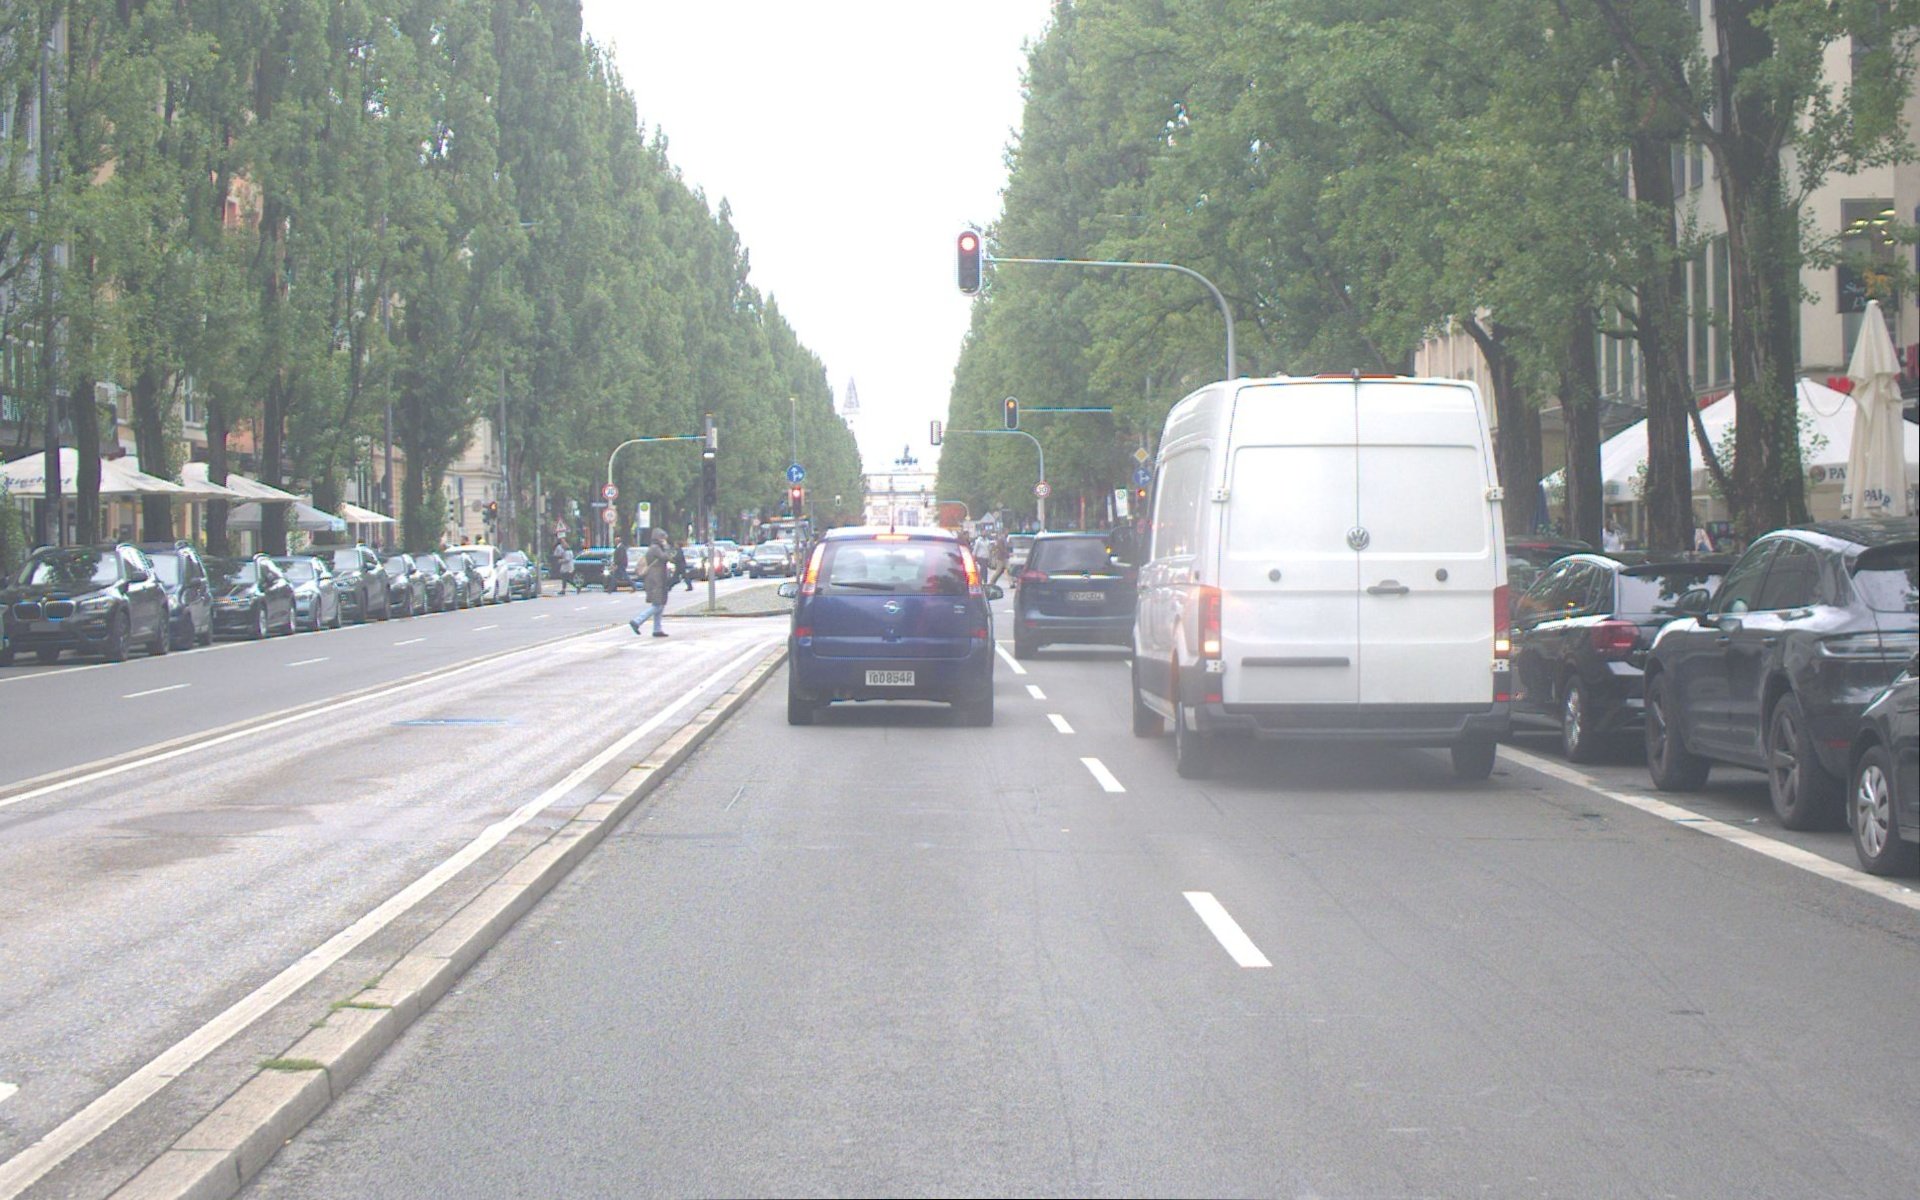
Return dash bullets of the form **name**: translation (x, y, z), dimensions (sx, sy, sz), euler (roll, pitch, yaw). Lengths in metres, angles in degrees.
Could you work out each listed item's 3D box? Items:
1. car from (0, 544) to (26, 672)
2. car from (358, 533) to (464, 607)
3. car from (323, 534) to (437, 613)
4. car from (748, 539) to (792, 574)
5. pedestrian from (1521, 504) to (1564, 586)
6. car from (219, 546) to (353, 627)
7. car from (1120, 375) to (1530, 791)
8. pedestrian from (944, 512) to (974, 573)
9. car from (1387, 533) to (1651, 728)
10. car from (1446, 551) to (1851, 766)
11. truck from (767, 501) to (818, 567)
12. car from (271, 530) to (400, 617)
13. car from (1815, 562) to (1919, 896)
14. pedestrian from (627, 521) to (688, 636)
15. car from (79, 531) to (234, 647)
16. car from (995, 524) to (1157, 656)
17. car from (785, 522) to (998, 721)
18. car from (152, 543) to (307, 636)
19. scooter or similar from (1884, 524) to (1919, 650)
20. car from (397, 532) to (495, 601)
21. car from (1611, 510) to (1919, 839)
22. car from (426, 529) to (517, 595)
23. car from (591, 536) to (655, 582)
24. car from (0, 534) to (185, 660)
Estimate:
- **car**: translation (-12.581, 0.154, 40.680), dimensions (1.866, 1.546, 4.415), euler (-2, 1, -1)
- **car**: translation (-13.094, -0.734, 82.178), dimensions (1.866, 1.660, 4.120), euler (-2, 1, -1)
- **car**: translation (-13.004, -0.624, 77.228), dimensions (1.866, 1.660, 4.120), euler (-2, 1, -1)
- **car**: translation (-8.146, -1.858, 147.286), dimensions (1.735, 1.460, 3.365), euler (-1, 1, -1)
- **pedestrian**: translation (12.126, -1.135, 71.554), dimensions (0.673, 1.680, 0.759), euler (-1, 0, -5)
- **car**: translation (-12.751, -0.281, 65.233), dimensions (1.733, 1.421, 4.144), euler (-2, 1, -1)
- **car**: translation (2.343, -0.173, 23.962), dimensions (2.063, 2.484, 6.731), euler (0, 1, -1)
- **pedestrian**: translation (-0.040, -1.722, 103.214), dimensions (0.719, 1.820, 0.888), euler (1, 0, -11)
- **car**: translation (4.587, 0.216, 28.537), dimensions (1.592, 1.513, 2.730), euler (1, 1, -3)
- **car**: translation (4.845, 0.357, 24.811), dimensions (1.709, 1.388, 4.344), euler (0, 1, -5)
- **truck**: translation (-8.571, -3.391, 176.565), dimensions (2.383, 3.335, 7.111), euler (-1, 1, -1)
- **car**: translation (-12.883, -0.578, 71.170), dimensions (1.866, 1.660, 4.401), euler (-2, 1, -1)
- **car**: translation (4.971, 0.566, 14.272), dimensions (1.694, 1.411, 3.952), euler (0, 1, -3)
- **pedestrian**: translation (-4.458, -0.328, 50.665), dimensions (0.859, 1.678, 0.627), euler (-1, 1, -4)
- **car**: translation (-12.707, -0.203, 54.537), dimensions (1.709, 1.715, 3.923), euler (-2, 1, -4)
- **car**: translation (1.454, -0.164, 44.345), dimensions (1.896, 1.616, 4.000), euler (0, 1, -1)
- **car**: translation (-0.563, 0.131, 29.124), dimensions (1.671, 1.563, 4.000), euler (0, 1, -1)
- **car**: translation (-12.697, -0.213, 60.006), dimensions (1.798, 1.483, 4.351), euler (-2, 1, -1)
- **scooter or similar**: translation (11.008, -0.133, 38.121), dimensions (0.636, 1.371, 2.496), euler (-2, 2, -4)
- **car**: translation (-13.082, -0.870, 87.704), dimensions (1.866, 1.660, 4.120), euler (-2, 1, -1)
- **car**: translation (5.088, 0.340, 19.366), dimensions (1.803, 1.632, 4.448), euler (1, 1, -2)
- **car**: translation (-13.190, -1.052, 92.963), dimensions (1.866, 1.660, 4.120), euler (-2, 1, -1)
- **car**: translation (-11.283, -1.391, 115.187), dimensions (1.697, 1.457, 4.713), euler (-2, 1, -1)
- **car**: translation (-12.503, -0.080, 49.038), dimensions (1.866, 1.658, 4.611), euler (-2, 1, -1)
